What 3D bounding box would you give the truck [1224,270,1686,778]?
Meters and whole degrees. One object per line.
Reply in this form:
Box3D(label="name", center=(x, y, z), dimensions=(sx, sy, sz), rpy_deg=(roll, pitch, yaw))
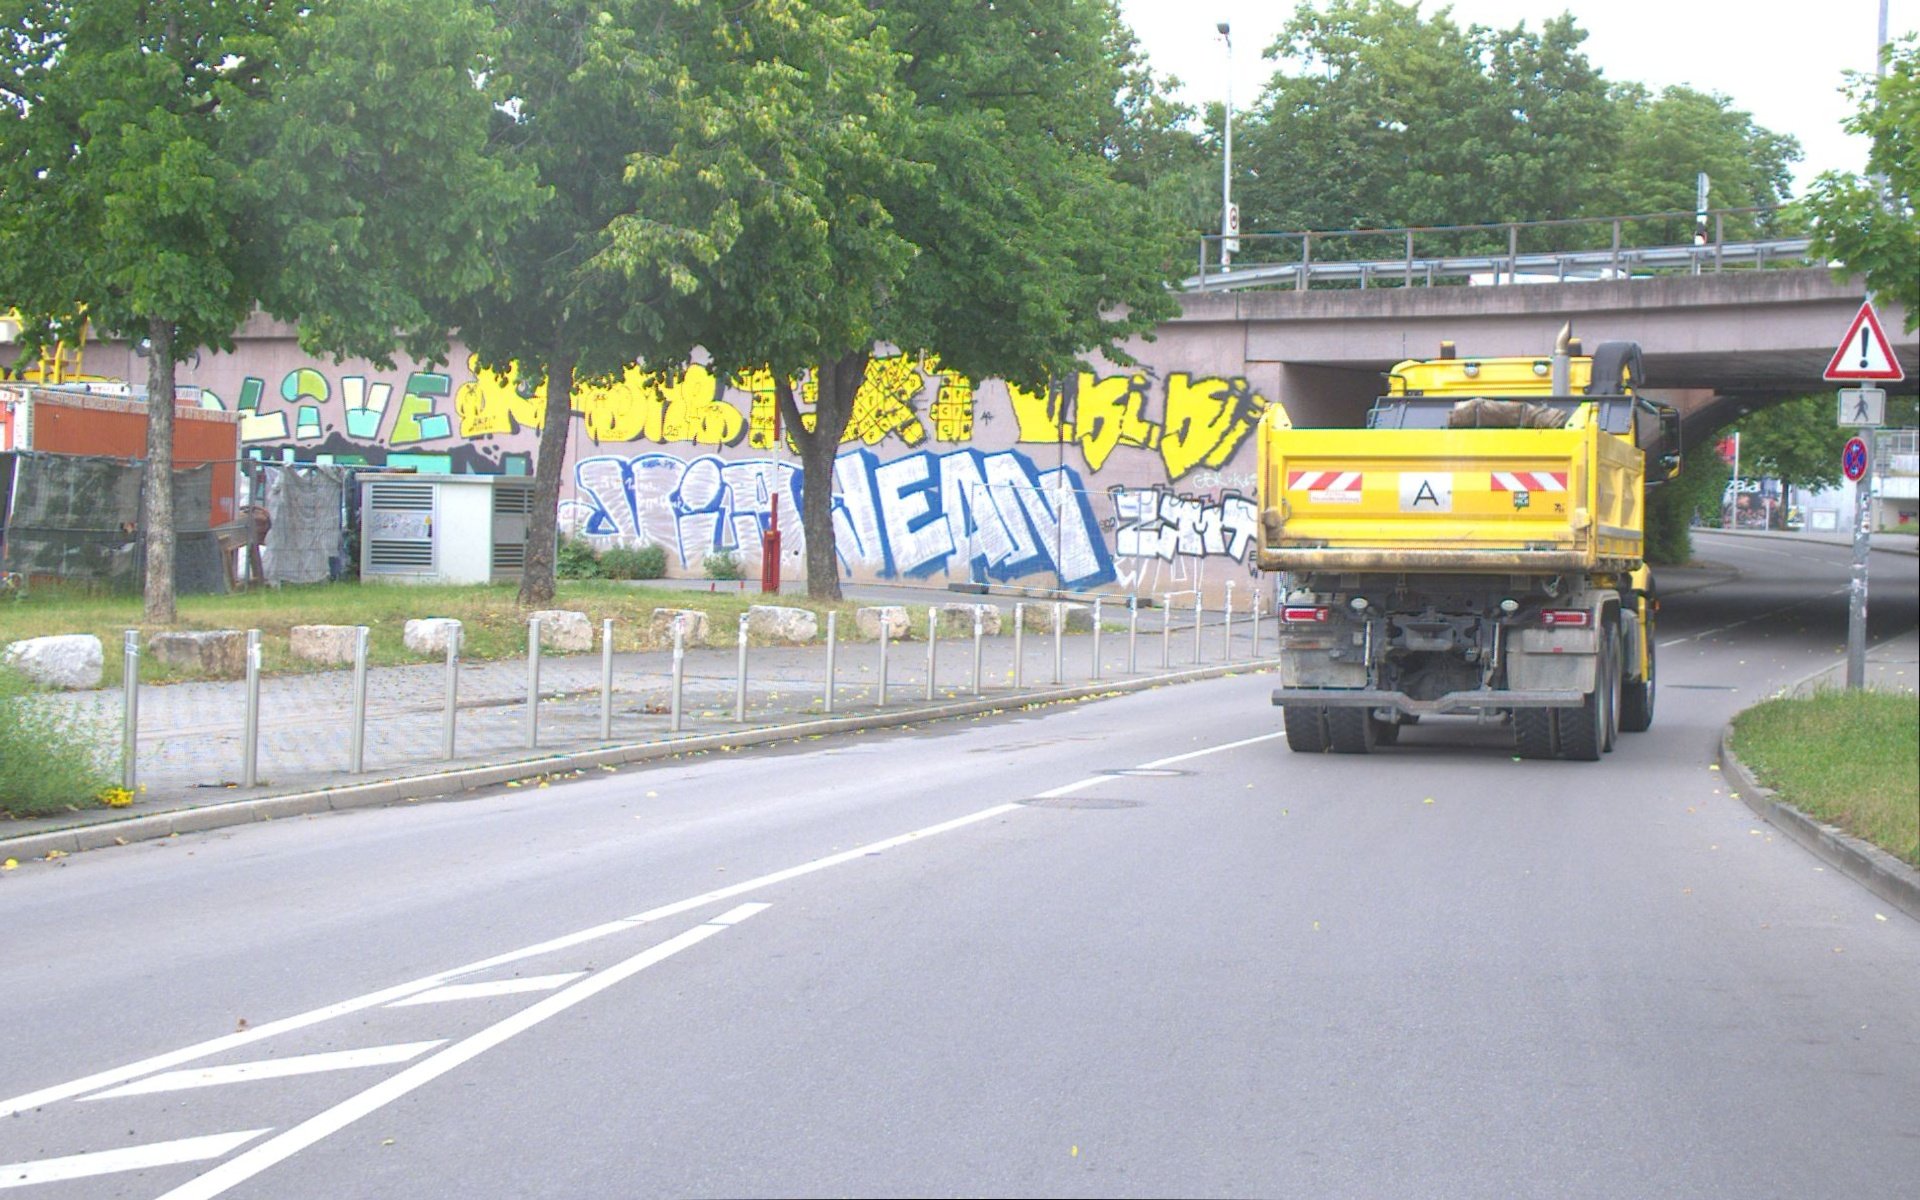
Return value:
Box3D(label="truck", center=(4.460, -0.631, 29.393), dimensions=(2.760, 3.686, 7.874), rpy_deg=(2, 1, 16))
